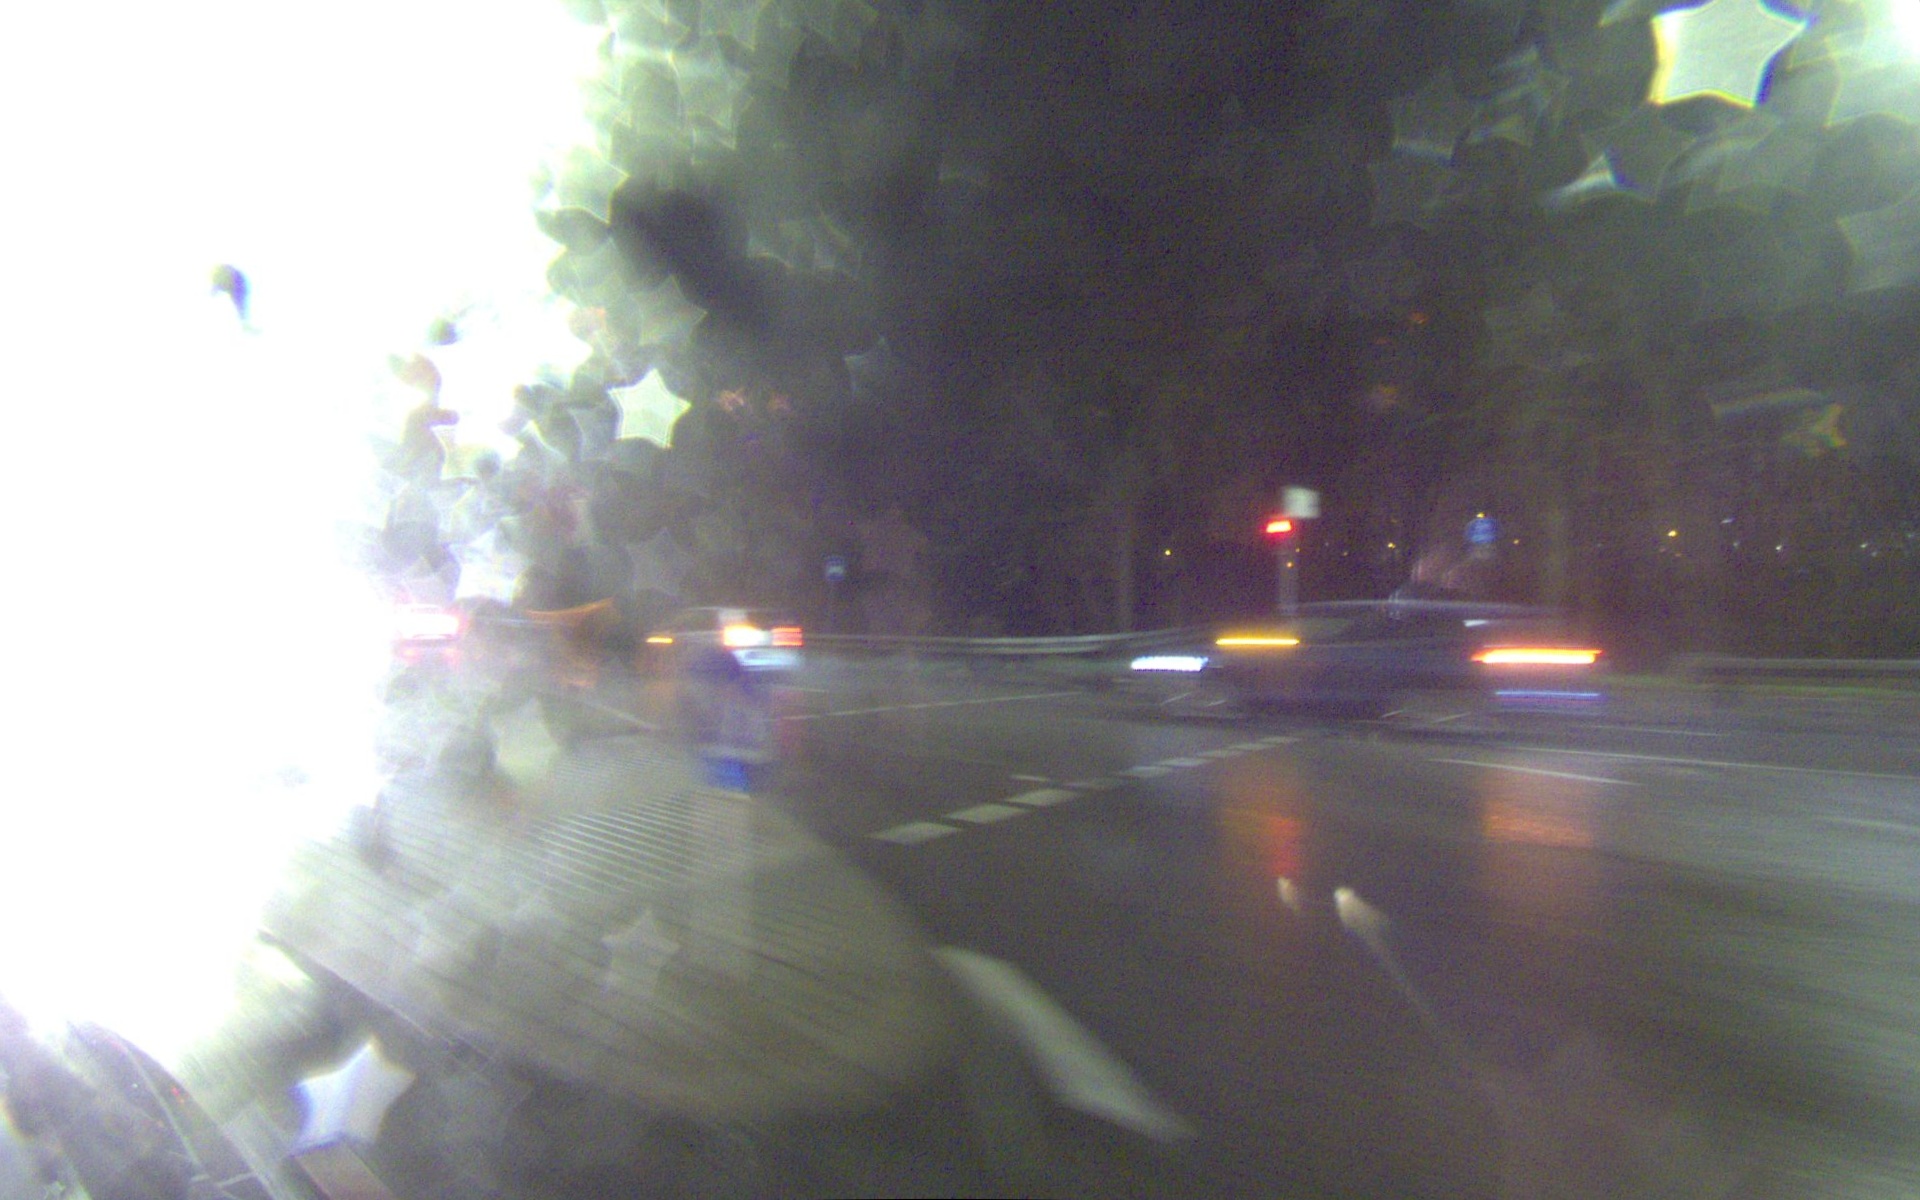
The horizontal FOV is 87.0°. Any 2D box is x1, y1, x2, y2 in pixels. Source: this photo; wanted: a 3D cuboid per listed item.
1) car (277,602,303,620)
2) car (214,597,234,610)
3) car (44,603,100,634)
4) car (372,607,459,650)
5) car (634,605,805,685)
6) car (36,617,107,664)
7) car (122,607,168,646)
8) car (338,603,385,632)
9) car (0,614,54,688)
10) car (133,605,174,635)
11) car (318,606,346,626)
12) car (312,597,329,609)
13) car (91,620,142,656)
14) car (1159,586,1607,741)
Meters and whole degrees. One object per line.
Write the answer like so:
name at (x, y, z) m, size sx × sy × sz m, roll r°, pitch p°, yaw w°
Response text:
car at (-60.439, 1.018, 91.282) m, size 1.824 × 1.583 × 3.515 m, roll 0°, pitch -1°, yaw -37°
car at (-101.736, 0.445, 139.953) m, size 1.966 × 1.691 × 4.011 m, roll -1°, pitch 1°, yaw -33°
car at (-50.648, 1.016, 57.816) m, size 1.967 × 1.610 × 4.403 m, roll 0°, pitch 1°, yaw -35°
car at (-19.869, 1.054, 36.858) m, size 1.767 × 1.468 × 4.583 m, roll 2°, pitch -3°, yaw -41°
car at (-4.833, 0.876, 20.177) m, size 3.491 × 1.444 × 1.549 m, roll -2°, pitch -2°, yaw 40°
car at (-31.757, 1.406, 36.249) m, size 1.581 × 1.436 × 3.397 m, roll -4°, pitch 3°, yaw -37°
car at (-47.228, 1.503, 58.620) m, size 1.969 × 2.029 × 4.007 m, roll -2°, pitch 2°, yaw -40°
car at (-33.291, 0.962, 56.267) m, size 1.712 × 1.507 × 3.948 m, roll 2°, pitch -1°, yaw -38°
car at (-21.353, 1.126, 22.338) m, size 1.581 × 1.436 × 3.398 m, roll -4°, pitch 3°, yaw -35°
car at (-52.491, 1.278, 65.917) m, size 1.938 × 1.807 × 4.009 m, roll -2°, pitch 2°, yaw -37°
car at (-52.082, 1.308, 83.900) m, size 1.751 × 1.605 × 4.572 m, roll 0°, pitch 0°, yaw -35°
car at (-80.184, 0.384, 126.815) m, size 1.688 × 1.434 × 4.680 m, roll 2°, pitch -1°, yaw -34°
car at (-40.014, 1.753, 48.064) m, size 1.581 × 1.436 × 3.397 m, roll -4°, pitch 3°, yaw -37°
car at (4.726, 0.679, 11.685) m, size 4.471 × 1.471 × 1.763 m, roll -2°, pitch -3°, yaw 38°
